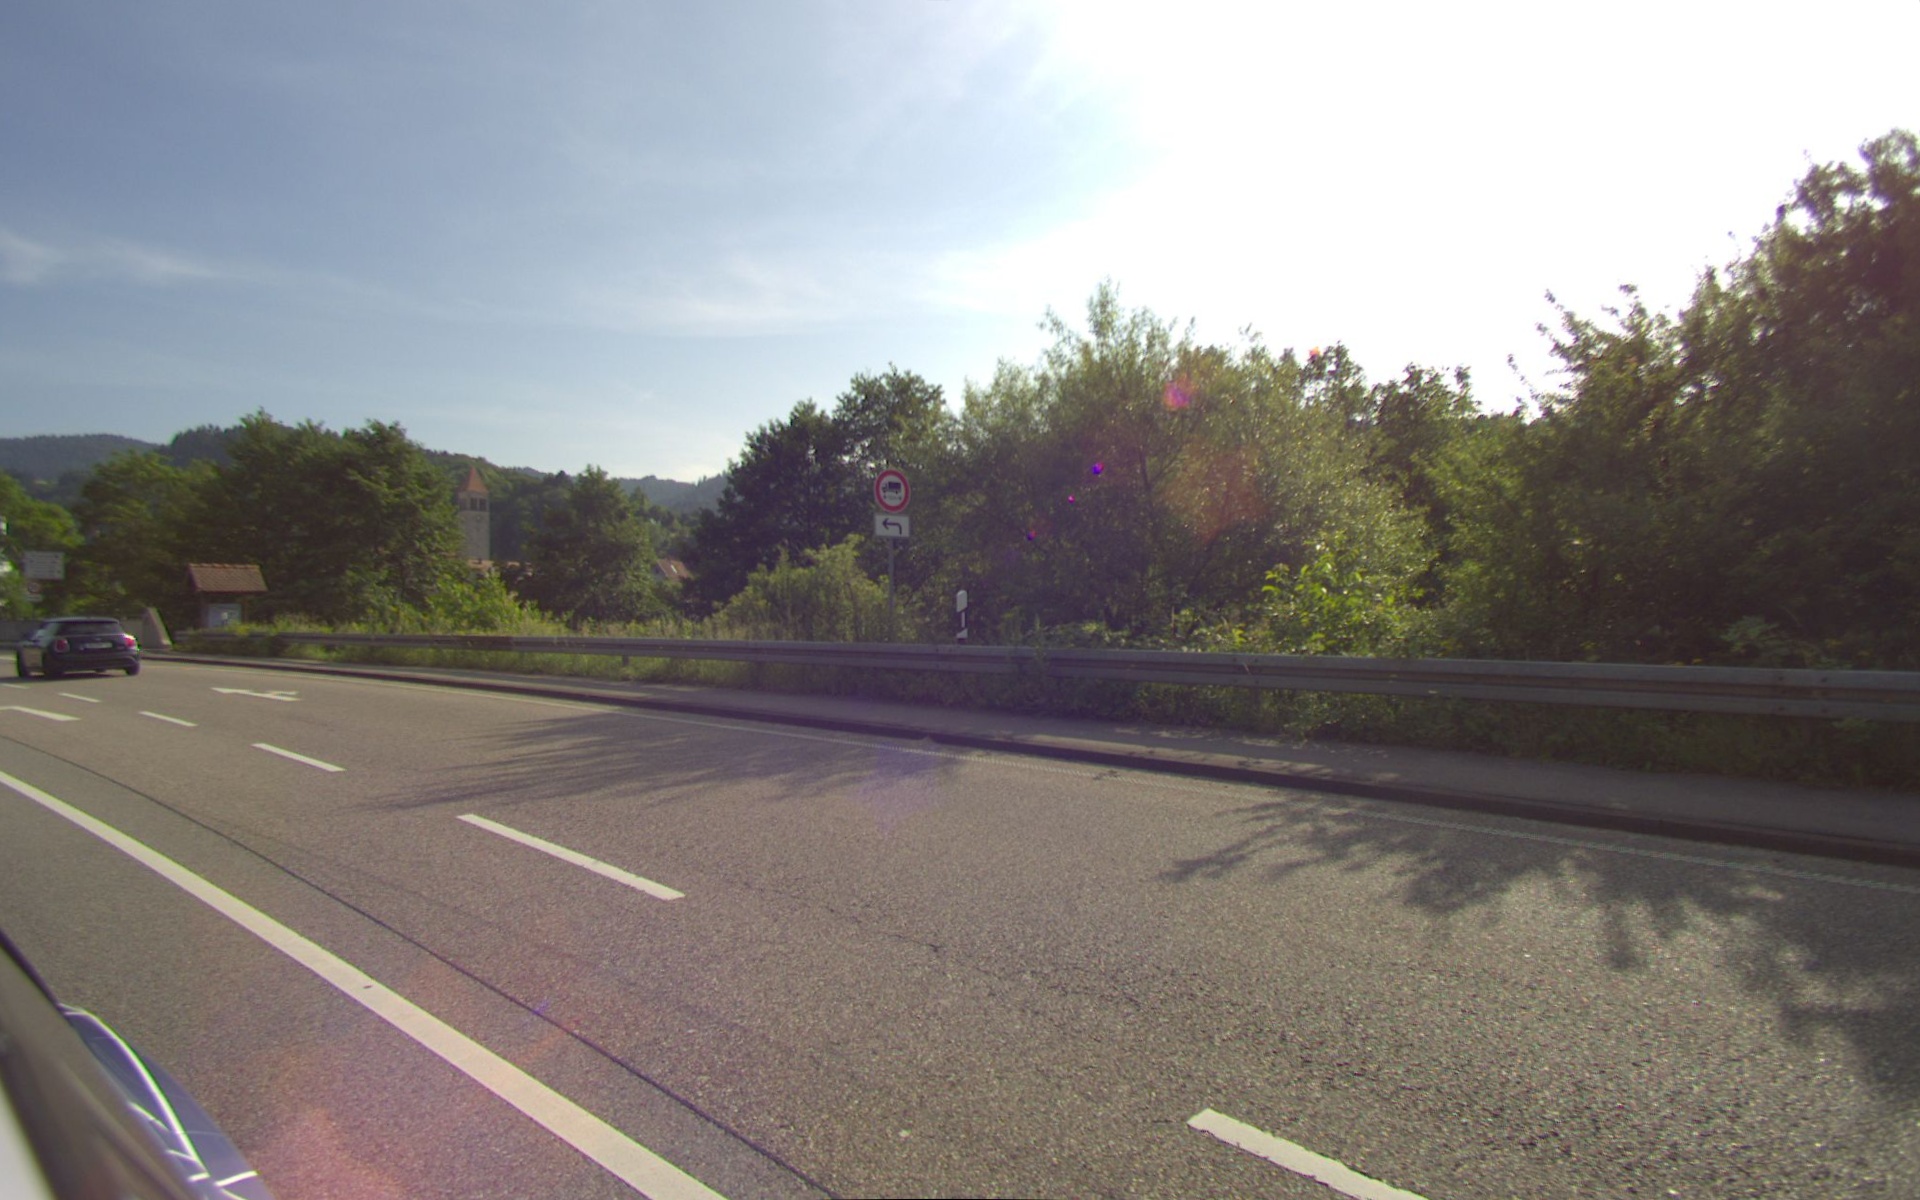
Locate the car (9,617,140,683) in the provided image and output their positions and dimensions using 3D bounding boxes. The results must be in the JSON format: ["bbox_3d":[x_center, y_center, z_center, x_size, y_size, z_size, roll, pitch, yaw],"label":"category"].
[{"bbox_3d":[-21.167,1.148,24.139,4.197,1.413,1.677,-2,-1,39],"label":"car"}]
